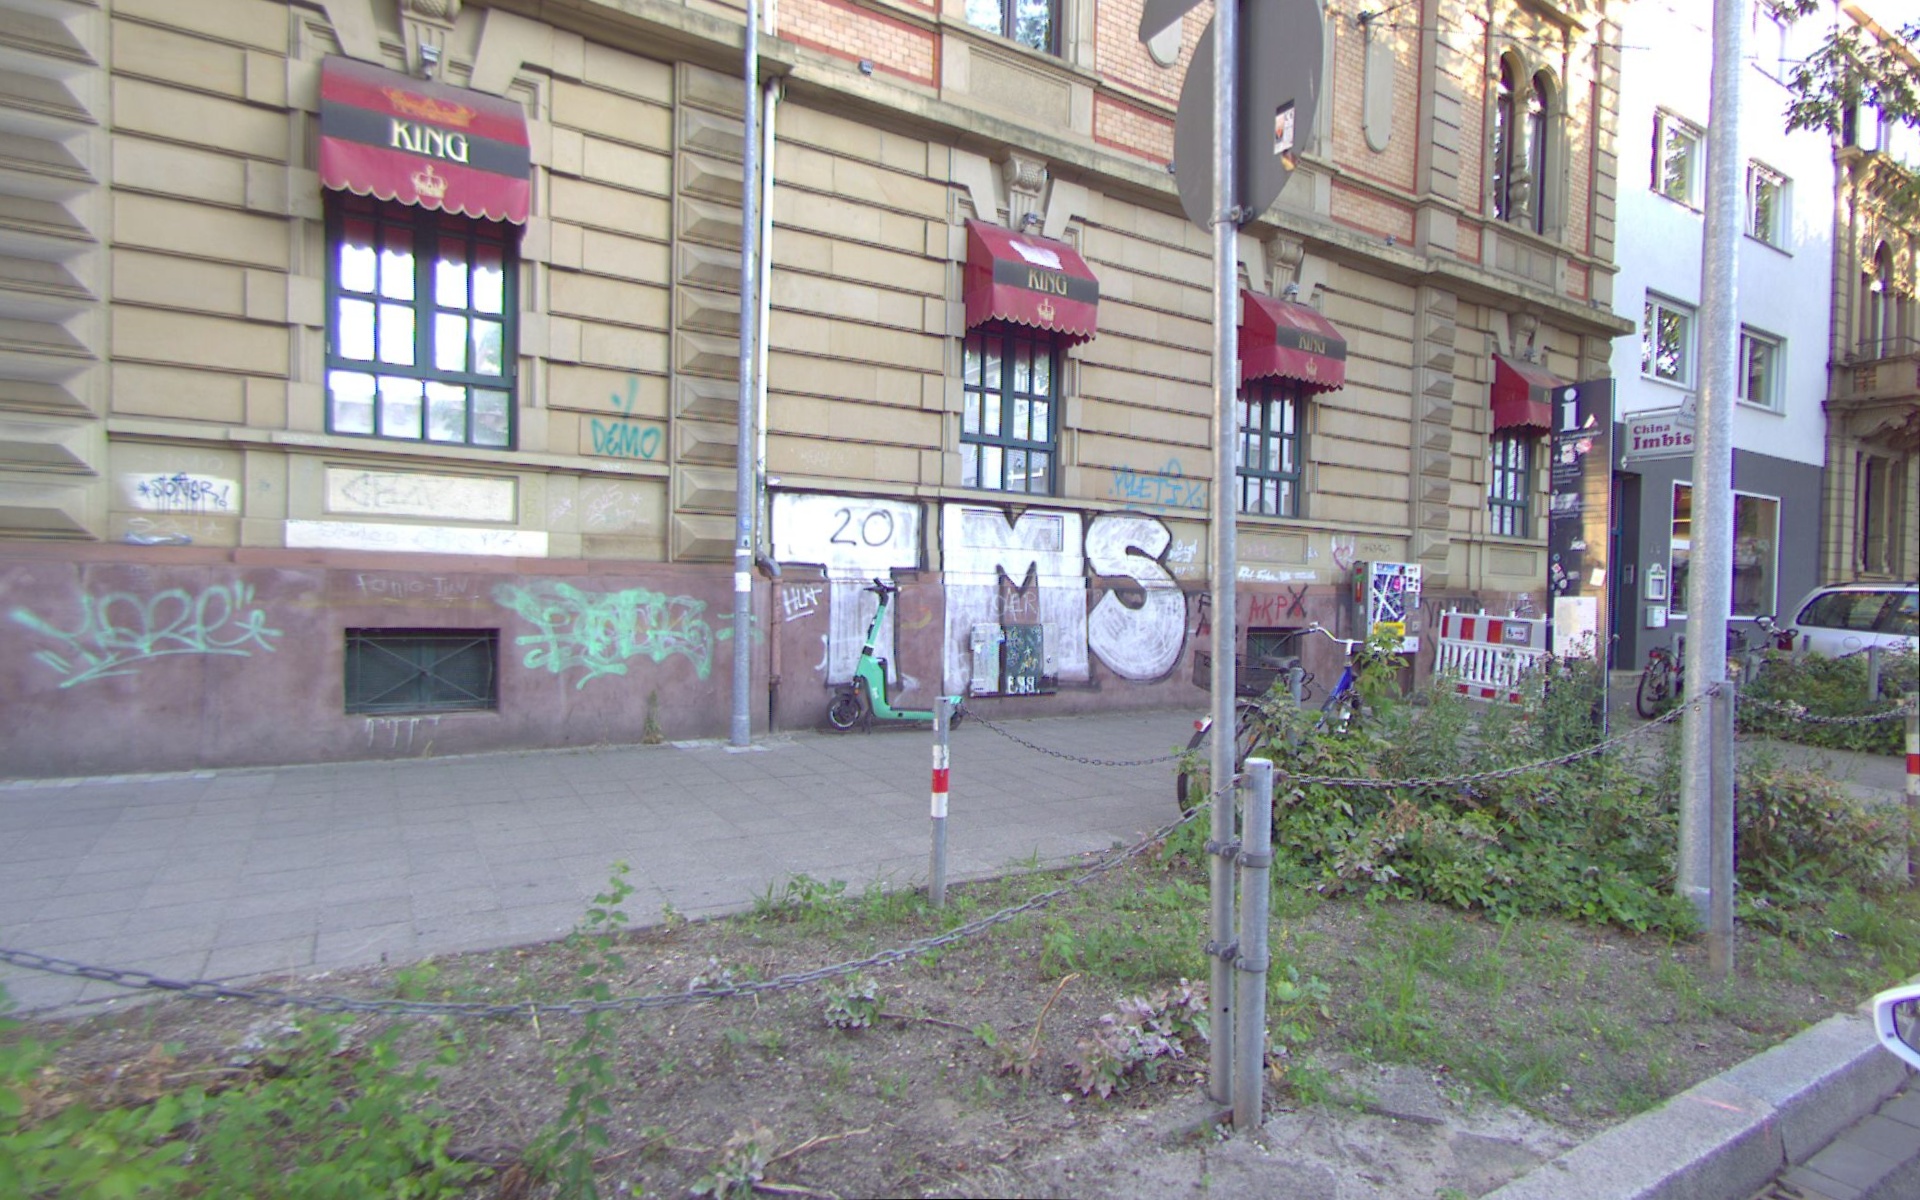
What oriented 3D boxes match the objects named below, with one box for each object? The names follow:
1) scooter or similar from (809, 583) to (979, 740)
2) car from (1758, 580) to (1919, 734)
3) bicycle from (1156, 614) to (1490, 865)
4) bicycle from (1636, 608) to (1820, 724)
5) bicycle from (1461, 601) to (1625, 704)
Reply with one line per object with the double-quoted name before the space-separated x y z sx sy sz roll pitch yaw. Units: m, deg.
"scooter or similar" -0.534 0.482 8.069 1.267 1.184 0.438 1 2 -19
"car" 12.684 0.707 12.061 1.814 1.859 4.521 1 0 -33
"bicycle" 2.048 0.678 5.531 2.077 1.169 0.508 1 2 -32
"bicycle" 8.950 0.727 11.661 2.603 1.202 0.731 1 2 -31
"bicycle" 7.539 0.649 12.941 2.533 1.218 0.633 1 0 -30
